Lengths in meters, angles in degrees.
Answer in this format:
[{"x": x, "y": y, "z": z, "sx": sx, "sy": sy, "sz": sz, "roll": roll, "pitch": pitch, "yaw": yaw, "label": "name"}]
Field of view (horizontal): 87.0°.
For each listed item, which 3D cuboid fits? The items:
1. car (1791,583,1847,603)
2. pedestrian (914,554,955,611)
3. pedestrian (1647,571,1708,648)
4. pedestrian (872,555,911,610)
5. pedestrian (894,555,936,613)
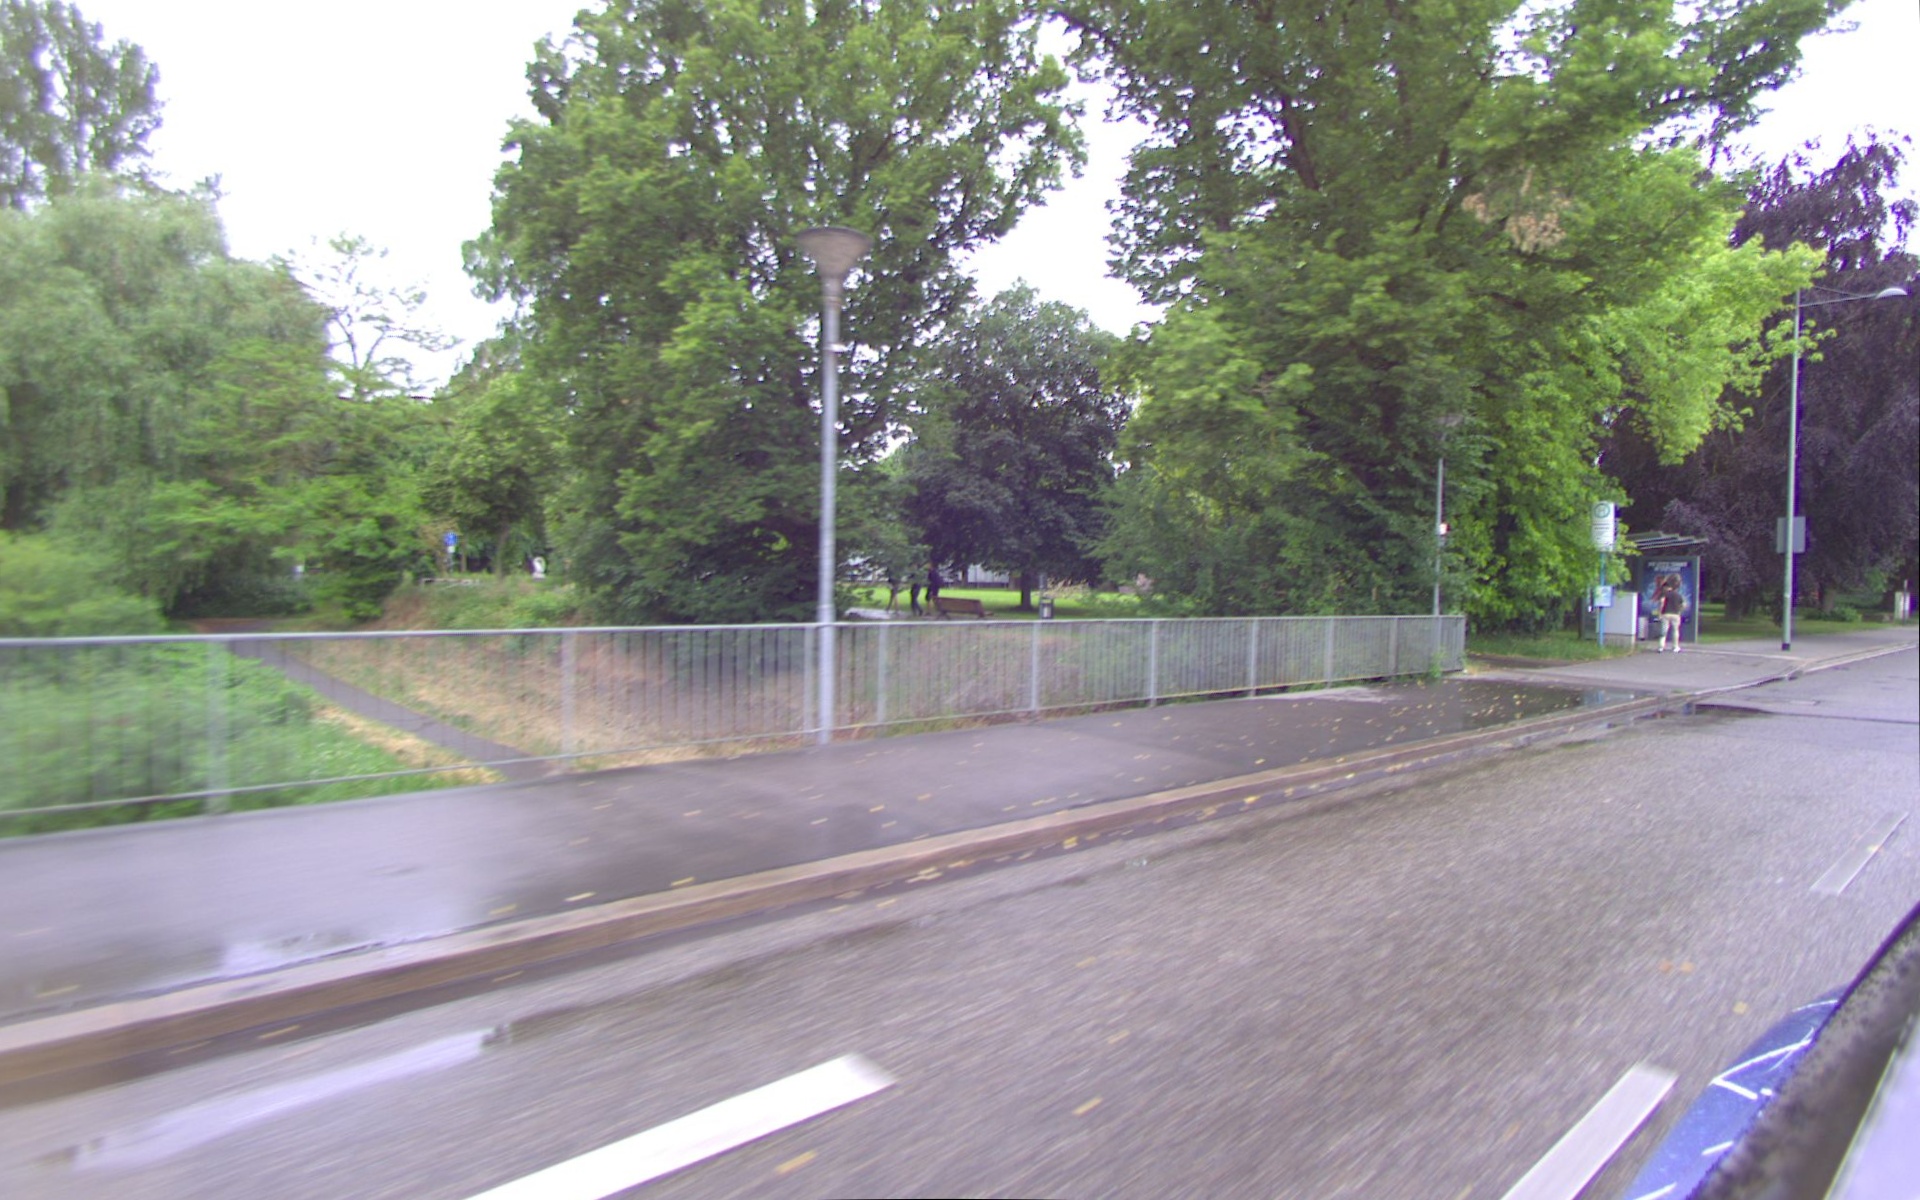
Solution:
[{"x": 84.560, "y": -0.697, "z": 99.638, "sx": 1.966, "sy": 1.737, "sz": 3.992, "roll": 0, "pitch": 2, "yaw": -43, "label": "car"}, {"x": -0.825, "y": -0.572, "z": 32.516, "sx": 1.057, "sy": 1.774, "sz": 0.770, "roll": 2, "pitch": 2, "yaw": 44, "label": "pedestrian"}, {"x": 16.746, "y": 0.206, "z": 23.618, "sx": 1.147, "sy": 1.696, "sz": 0.849, "roll": -1, "pitch": 4, "yaw": -41, "label": "pedestrian"}, {"x": -2.263, "y": -0.579, "z": 33.451, "sx": 1.057, "sy": 1.774, "sz": 0.770, "roll": 2, "pitch": 2, "yaw": 44, "label": "pedestrian"}, {"x": -1.407, "y": -0.504, "z": 31.533, "sx": 1.057, "sy": 1.774, "sz": 0.770, "roll": 2, "pitch": 2, "yaw": 44, "label": "pedestrian"}]
